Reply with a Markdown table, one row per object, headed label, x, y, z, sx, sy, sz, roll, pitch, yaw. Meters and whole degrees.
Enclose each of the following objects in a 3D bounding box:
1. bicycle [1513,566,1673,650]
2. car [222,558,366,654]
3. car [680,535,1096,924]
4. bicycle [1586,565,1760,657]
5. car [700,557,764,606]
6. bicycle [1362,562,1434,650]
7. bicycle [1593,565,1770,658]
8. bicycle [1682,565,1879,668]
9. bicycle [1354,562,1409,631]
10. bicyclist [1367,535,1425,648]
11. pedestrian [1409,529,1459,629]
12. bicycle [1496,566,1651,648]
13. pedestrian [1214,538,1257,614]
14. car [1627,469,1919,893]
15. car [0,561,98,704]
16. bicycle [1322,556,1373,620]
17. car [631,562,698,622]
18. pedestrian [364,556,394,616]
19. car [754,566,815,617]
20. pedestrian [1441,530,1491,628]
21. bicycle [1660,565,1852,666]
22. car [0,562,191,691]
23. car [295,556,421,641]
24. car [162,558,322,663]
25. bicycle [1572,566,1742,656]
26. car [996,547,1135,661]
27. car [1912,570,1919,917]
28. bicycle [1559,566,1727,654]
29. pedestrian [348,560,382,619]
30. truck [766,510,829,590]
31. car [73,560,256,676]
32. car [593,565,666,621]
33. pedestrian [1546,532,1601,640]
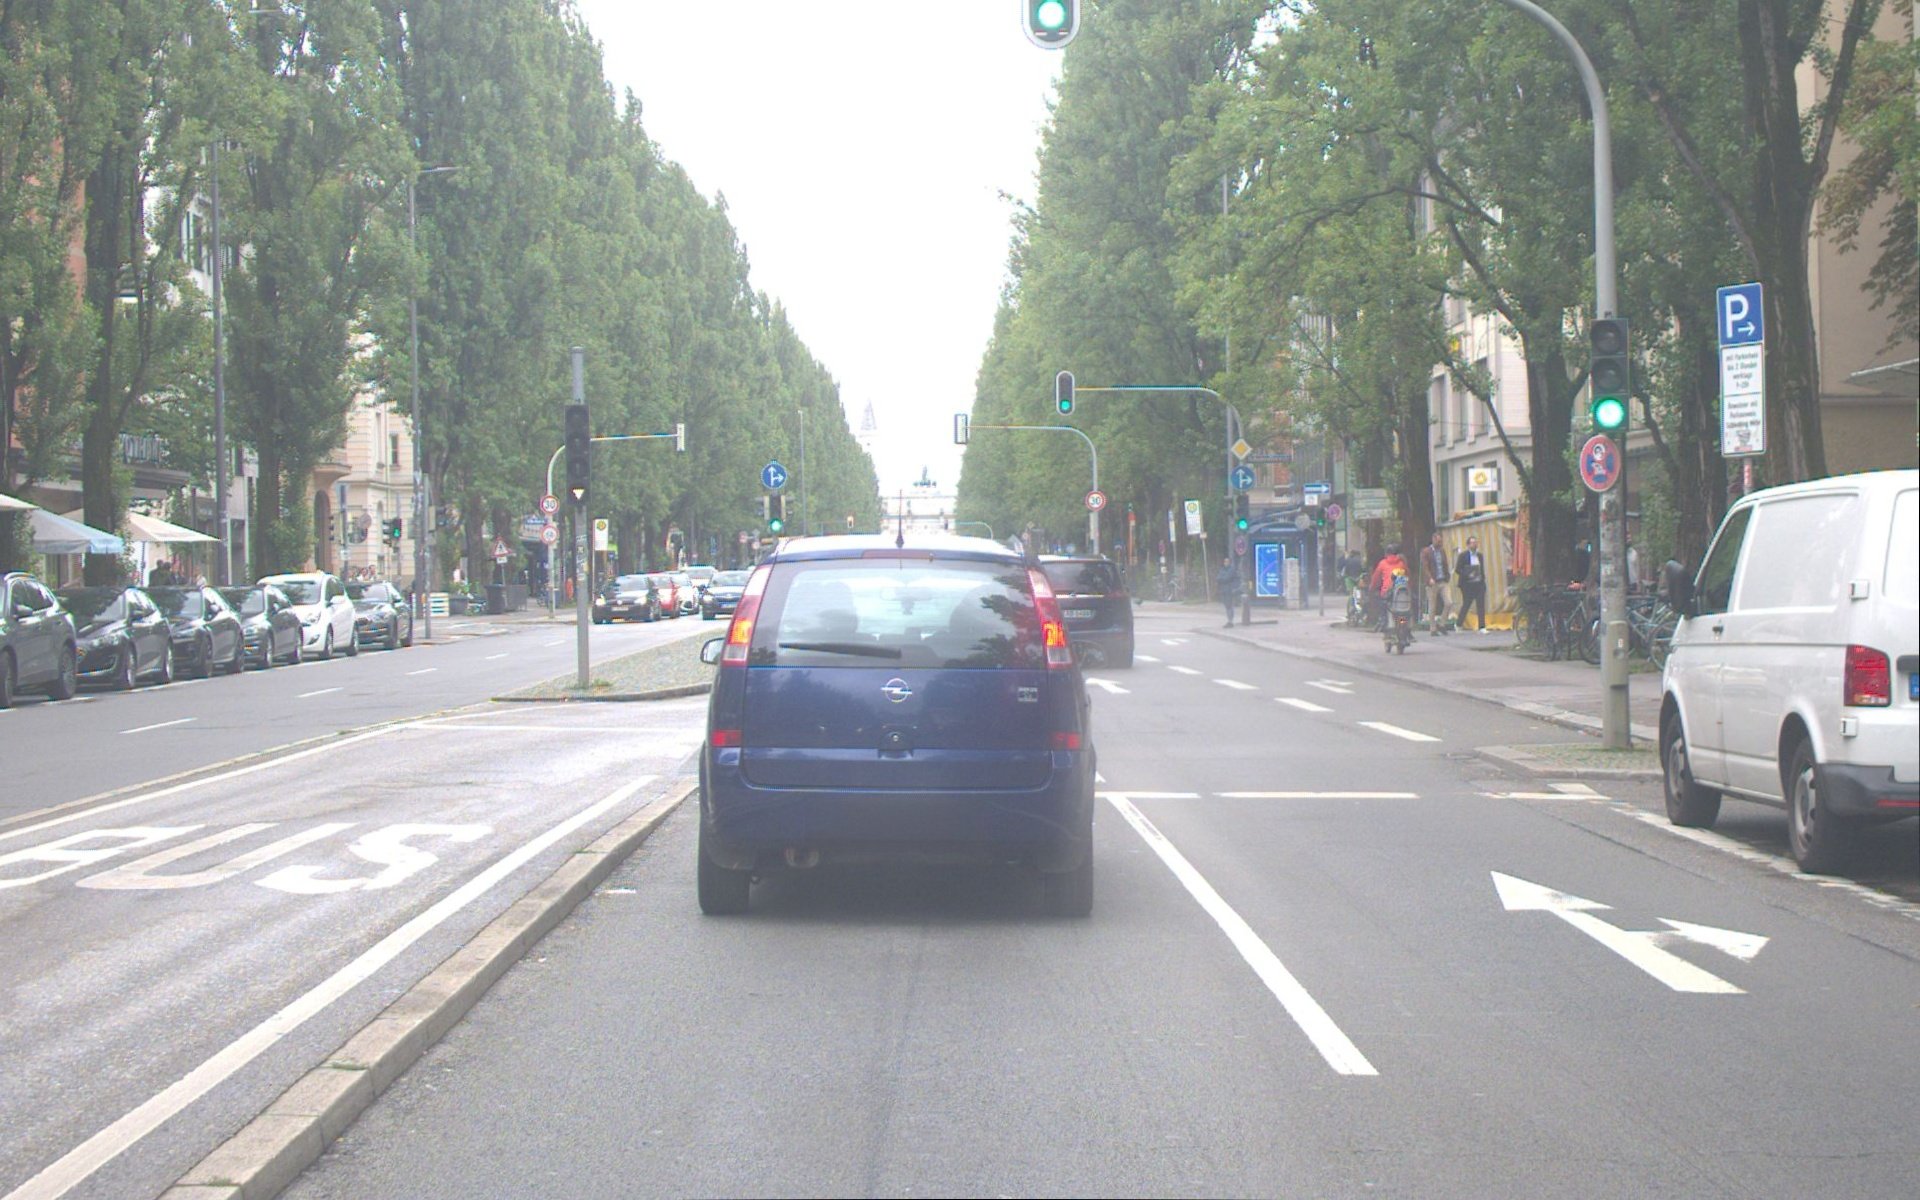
| label | x | y | z | sx | sy | sz | roll | pitch | yaw |
| --- | --- | --- | --- | --- | --- | --- | --- | --- | --- |
| bicycle | 9.383 | 0.115 | 51.016 | 2.227 | 1.200 | 0.626 | -1 | 1 | -2 |
| car | -12.454 | 0.075 | 64.492 | 1.866 | 1.660 | 4.120 | -2 | 1 | -1 |
| car | -0.300 | 0.492 | 15.832 | 1.671 | 1.563 | 4.000 | 0 | 1 | 0 |
| bicycle | 9.805 | 0.145 | 47.305 | 2.227 | 1.200 | 0.626 | -1 | 1 | -2 |
| car | -6.992 | -0.583 | 105.601 | 1.735 | 1.460 | 3.365 | -1 | 1 | -1 |
| bicycle | 6.894 | 0.072 | 54.228 | 0.772 | 1.344 | 2.449 | -1 | 1 | -1 |
| bicycle | 9.751 | 0.150 | 46.496 | 2.227 | 1.200 | 0.626 | -1 | 1 | -2 |
| bicycle | 9.999 | 0.200 | 41.926 | 2.227 | 1.200 | 0.626 | -1 | 1 | -2 |
| bicycle | 8.520 | -0.083 | 69.581 | 0.772 | 1.344 | 2.449 | -1 | 1 | -1 |
| bicyclist | 6.891 | -0.139 | 54.388 | 0.767 | 1.760 | 0.885 | -1 | 1 | -1 |
| pedestrian | 8.775 | -0.387 | 63.646 | 0.636 | 1.820 | 0.888 | 1 | 0 | -10 |
| bicycle | 9.343 | 0.103 | 52.394 | 2.227 | 1.200 | 0.626 | -1 | 1 | -2 |
| pedestrian | 6.434 | -0.555 | 80.254 | 0.882 | 1.760 | 0.770 | -1 | 1 | -3 |
| car | 4.896 | 0.335 | 18.112 | 1.787 | 1.939 | 4.731 | 0 | 1 | -1 |
| car | -12.132 | 0.391 | 42.413 | 1.866 | 1.660 | 4.401 | -2 | 1 | -1 |
| bicycle | 8.400 | -0.274 | 74.618 | 0.772 | 1.344 | 2.449 | -1 | 1 | -1 |
| car | -10.197 | -0.305 | 118.790 | 1.993 | 2.007 | 4.000 | -1 | 1 | -1 |
| pedestrian | -17.126 | -0.420 | 101.373 | 0.767 | 1.760 | 0.885 | -1 | 1 | -14 |
| car | -5.920 | -0.315 | 116.383 | 1.866 | 1.660 | 4.120 | -1 | 1 | -1 |
| pedestrian | 9.447 | -0.390 | 64.190 | 0.636 | 1.820 | 0.888 | 1 | 0 | -10 |
| bicycle | 9.952 | 0.185 | 43.009 | 2.227 | 1.200 | 0.626 | -1 | 1 | -2 |
| car | -12.275 | 0.343 | 48.550 | 1.866 | 1.660 | 4.120 | -2 | 1 | -1 |
| car | -12.531 | -0.056 | 71.767 | 1.866 | 1.660 | 4.120 | -2 | 1 | -1 |
| car | -12.327 | 0.152 | 59.231 | 1.866 | 1.660 | 4.120 | -2 | 1 | -1 |
| bicycle | 9.746 | 0.142 | 48.103 | 2.227 | 1.200 | 0.626 | -1 | 1 | -2 |
| car | 1.517 | 0.028 | 50.672 | 1.896 | 1.616 | 4.000 | 0 | 1 | 0 |
| car | 4.881 | 0.631 | 13.098 | 1.541 | 1.487 | 3.523 | 0 | 1 | 0 |
| bicycle | 9.707 | 0.139 | 48.899 | 2.227 | 1.200 | 0.626 | -1 | 1 | -2 |
| pedestrian | -17.901 | -0.324 | 103.438 | 0.767 | 1.760 | 0.885 | -1 | 1 | -25 |
| truck | -6.972 | -2.151 | 148.196 | 2.383 | 3.335 | 7.111 | -1 | 1 | -1 |
| car | -12.371 | 0.247 | 53.704 | 1.866 | 1.660 | 4.120 | -2 | 1 | -1 |
| car | -10.055 | -0.232 | 104.861 | 1.866 | 1.660 | 4.120 | -1 | 1 | -1 |
| pedestrian | 10.467 | -0.242 | 58.687 | 0.636 | 1.820 | 0.888 | 1 | 0 | -10 |
